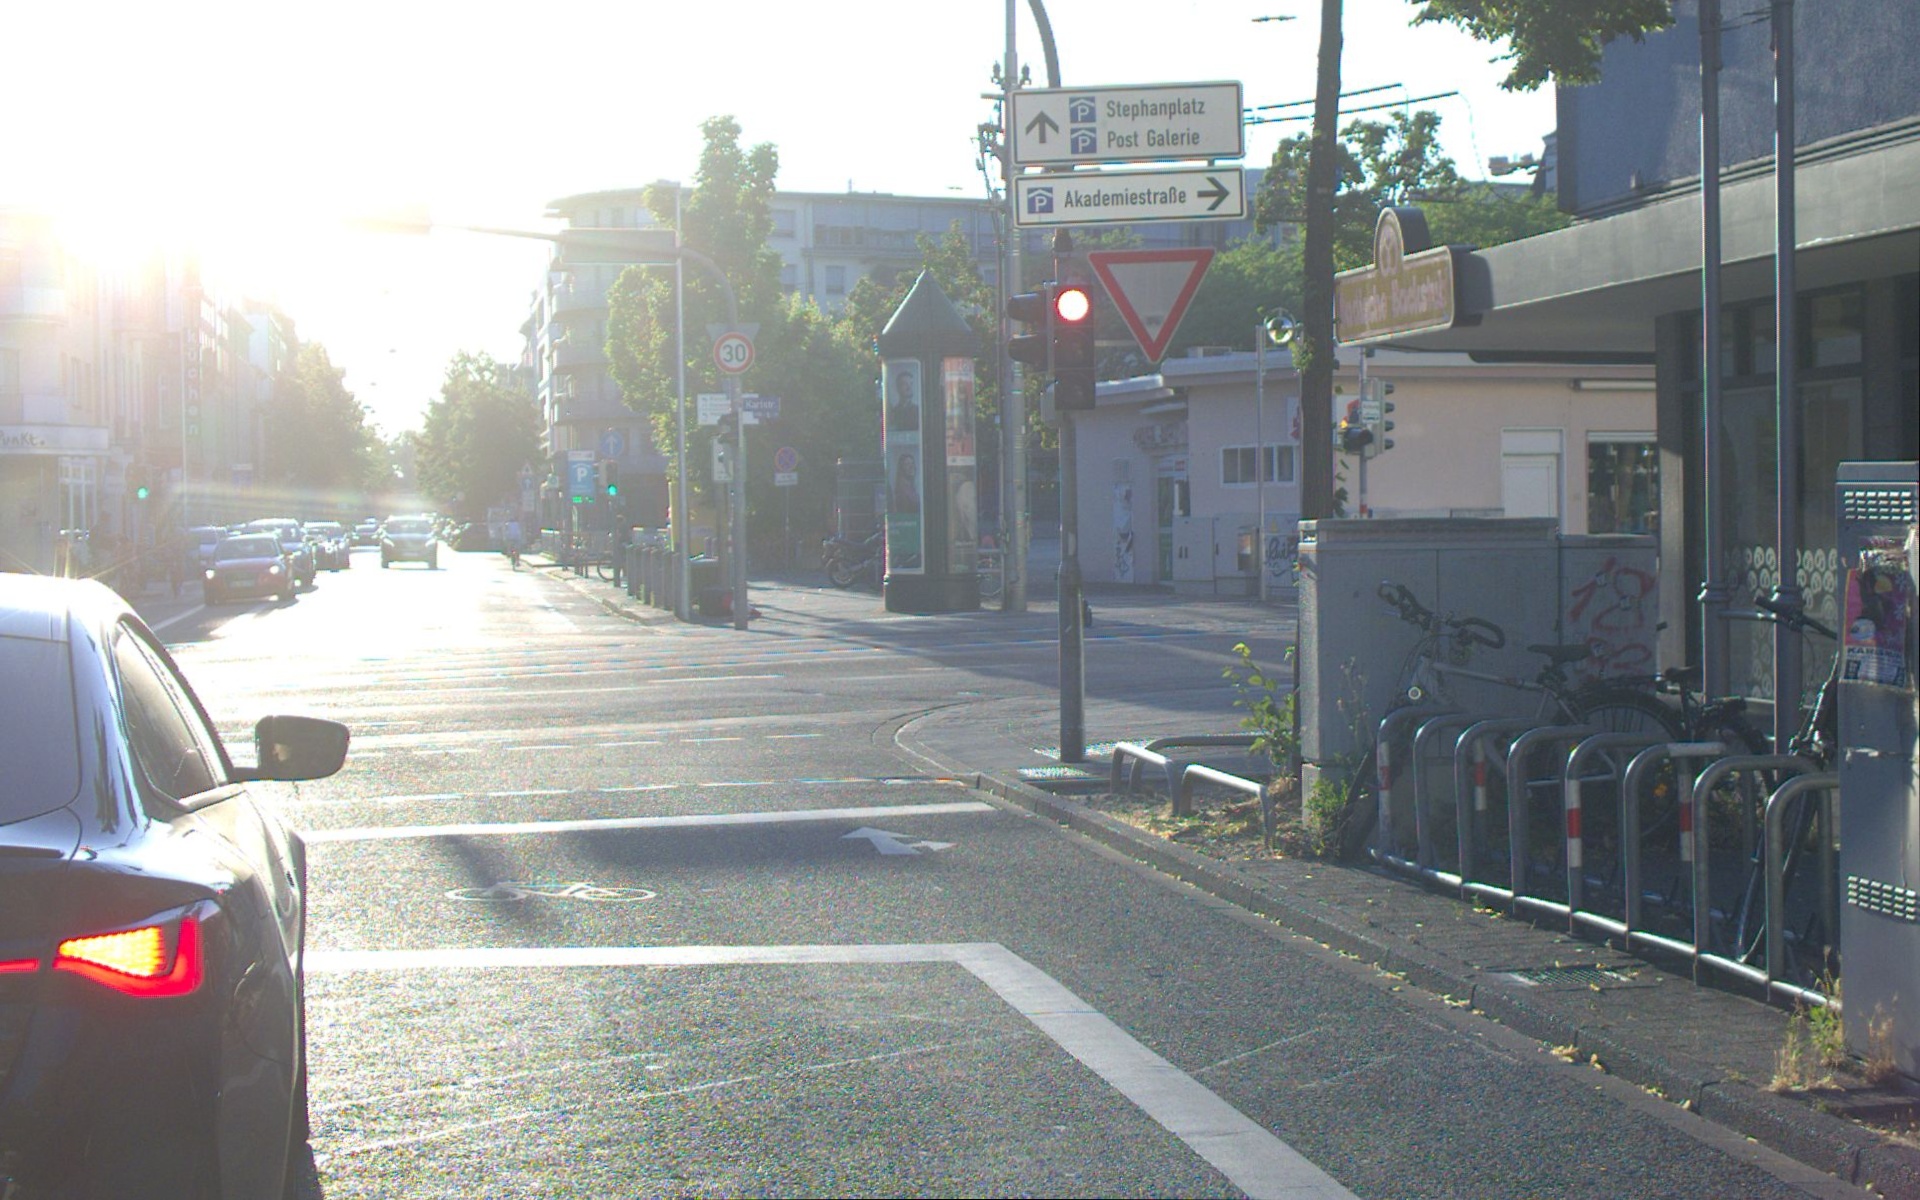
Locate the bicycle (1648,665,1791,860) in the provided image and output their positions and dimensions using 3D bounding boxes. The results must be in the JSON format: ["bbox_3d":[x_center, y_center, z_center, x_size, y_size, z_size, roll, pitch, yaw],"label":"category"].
[{"bbox_3d":[3.369,0.708,15.300,0.249,0.793,1.116,1,1,-7],"label":"bicycle"}]

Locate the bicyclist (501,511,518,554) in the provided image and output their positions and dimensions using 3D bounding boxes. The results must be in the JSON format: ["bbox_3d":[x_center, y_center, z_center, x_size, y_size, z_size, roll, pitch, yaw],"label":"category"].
[{"bbox_3d":[-15.486,-2.305,118.081,0.550,1.476,0.723,0,0,-10],"label":"bicyclist"}]

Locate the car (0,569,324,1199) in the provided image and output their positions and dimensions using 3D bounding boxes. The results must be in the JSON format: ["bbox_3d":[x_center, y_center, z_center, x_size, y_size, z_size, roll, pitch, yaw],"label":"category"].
[{"bbox_3d":[-2.120,0.674,6.507,1.736,1.424,4.225,0,1,-10],"label":"car"}]

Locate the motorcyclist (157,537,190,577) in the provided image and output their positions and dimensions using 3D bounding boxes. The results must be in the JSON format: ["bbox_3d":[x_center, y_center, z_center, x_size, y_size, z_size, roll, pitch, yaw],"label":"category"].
[{"bbox_3d":[-18.190,-0.998,79.530,0.575,0.912,2.201,1,1,-8],"label":"motorcyclist"}]

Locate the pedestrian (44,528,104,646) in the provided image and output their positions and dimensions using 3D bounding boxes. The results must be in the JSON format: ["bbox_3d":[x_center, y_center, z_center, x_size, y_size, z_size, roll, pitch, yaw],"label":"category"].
[{"bbox_3d":[-11.572,-0.177,44.922,0.732,1.524,0.473,1,1,-12],"label":"pedestrian"}]

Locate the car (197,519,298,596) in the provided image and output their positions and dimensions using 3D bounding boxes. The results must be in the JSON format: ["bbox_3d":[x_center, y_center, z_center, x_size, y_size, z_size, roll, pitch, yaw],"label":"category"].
[{"bbox_3d":[-14.892,-0.912,72.025,1.817,1.514,4.001,-1,2,-8],"label":"car"}]

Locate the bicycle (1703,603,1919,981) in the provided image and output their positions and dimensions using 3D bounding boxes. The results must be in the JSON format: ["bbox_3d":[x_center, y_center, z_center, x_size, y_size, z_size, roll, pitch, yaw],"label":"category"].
[{"bbox_3d":[3.232,0.631,11.389,1.440,1.216,0.383,1,1,-7],"label":"bicycle"}]

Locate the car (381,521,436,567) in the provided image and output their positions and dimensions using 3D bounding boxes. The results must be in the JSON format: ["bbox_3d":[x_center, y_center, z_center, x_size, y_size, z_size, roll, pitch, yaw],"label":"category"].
[{"bbox_3d":[-19.118,-1.947,119.271,1.817,1.514,4.001,-1,2,-8],"label":"car"}]

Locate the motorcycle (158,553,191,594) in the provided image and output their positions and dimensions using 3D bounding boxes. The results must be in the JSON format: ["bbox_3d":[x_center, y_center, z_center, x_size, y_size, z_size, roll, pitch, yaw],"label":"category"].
[{"bbox_3d":[-18.234,-0.624,79.803,0.575,0.912,2.201,1,1,-8],"label":"motorcycle"}]

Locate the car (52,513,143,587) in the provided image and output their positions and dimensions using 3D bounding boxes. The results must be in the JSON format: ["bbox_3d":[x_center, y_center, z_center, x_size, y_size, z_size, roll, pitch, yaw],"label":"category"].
[{"bbox_3d":[-21.815,-1.280,87.075,1.817,1.782,4.001,-1,1,-8],"label":"car"}]

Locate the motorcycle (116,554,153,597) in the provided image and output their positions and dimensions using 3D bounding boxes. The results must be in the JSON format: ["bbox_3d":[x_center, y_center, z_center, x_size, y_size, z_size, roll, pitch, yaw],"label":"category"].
[{"bbox_3d":[-18.177,-0.548,75.730,0.575,0.912,2.201,1,1,-8],"label":"motorcycle"}]

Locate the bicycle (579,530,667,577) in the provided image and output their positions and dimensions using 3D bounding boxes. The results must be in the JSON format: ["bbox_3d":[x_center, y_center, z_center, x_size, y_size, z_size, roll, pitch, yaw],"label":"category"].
[{"bbox_3d":[-8.760,-1.205,89.451,2.212,1.198,0.620,1,1,3],"label":"bicycle"}]

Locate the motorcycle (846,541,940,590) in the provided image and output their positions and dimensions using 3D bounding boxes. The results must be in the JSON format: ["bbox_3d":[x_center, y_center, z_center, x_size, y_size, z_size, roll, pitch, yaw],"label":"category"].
[{"bbox_3d":[-1.327,-0.688,67.846,1.668,0.935,0.856,-1,2,-19],"label":"motorcycle"}]

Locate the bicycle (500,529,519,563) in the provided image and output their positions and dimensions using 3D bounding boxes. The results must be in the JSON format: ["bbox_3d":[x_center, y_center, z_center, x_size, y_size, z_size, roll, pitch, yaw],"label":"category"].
[{"bbox_3d":[-15.503,-1.847,118.163,0.550,1.155,2.145,0,1,-10],"label":"bicycle"}]

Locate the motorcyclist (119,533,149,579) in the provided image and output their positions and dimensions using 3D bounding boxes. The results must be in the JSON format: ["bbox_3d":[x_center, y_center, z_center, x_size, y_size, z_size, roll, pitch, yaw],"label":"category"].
[{"bbox_3d":[-18.141,-0.962,75.512,0.575,0.992,0.703,1,1,-8],"label":"motorcyclist"}]

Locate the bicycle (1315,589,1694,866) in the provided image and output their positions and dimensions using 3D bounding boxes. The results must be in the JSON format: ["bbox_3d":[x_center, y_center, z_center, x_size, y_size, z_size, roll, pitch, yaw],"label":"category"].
[{"bbox_3d":[2.399,0.554,15.169,1.612,1.167,0.318,-1,1,-6],"label":"bicycle"}]

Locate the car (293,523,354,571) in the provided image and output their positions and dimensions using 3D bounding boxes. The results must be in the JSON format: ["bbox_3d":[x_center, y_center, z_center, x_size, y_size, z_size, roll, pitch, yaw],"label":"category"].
[{"bbox_3d":[-21.075,-1.774,113.945,1.817,1.514,4.001,-1,2,-8],"label":"car"}]

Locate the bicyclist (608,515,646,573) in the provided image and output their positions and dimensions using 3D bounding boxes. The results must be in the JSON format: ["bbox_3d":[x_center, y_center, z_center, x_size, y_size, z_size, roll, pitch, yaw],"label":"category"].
[{"bbox_3d":[-8.668,-1.457,89.435,0.884,1.500,0.612,1,1,3],"label":"bicyclist"}]

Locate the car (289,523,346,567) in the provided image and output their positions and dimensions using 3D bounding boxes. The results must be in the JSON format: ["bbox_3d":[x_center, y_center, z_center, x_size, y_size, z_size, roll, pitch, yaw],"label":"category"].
[{"bbox_3d":[-22.930,-1.967,122.841,1.817,1.514,4.001,-1,2,-8],"label":"car"}]
